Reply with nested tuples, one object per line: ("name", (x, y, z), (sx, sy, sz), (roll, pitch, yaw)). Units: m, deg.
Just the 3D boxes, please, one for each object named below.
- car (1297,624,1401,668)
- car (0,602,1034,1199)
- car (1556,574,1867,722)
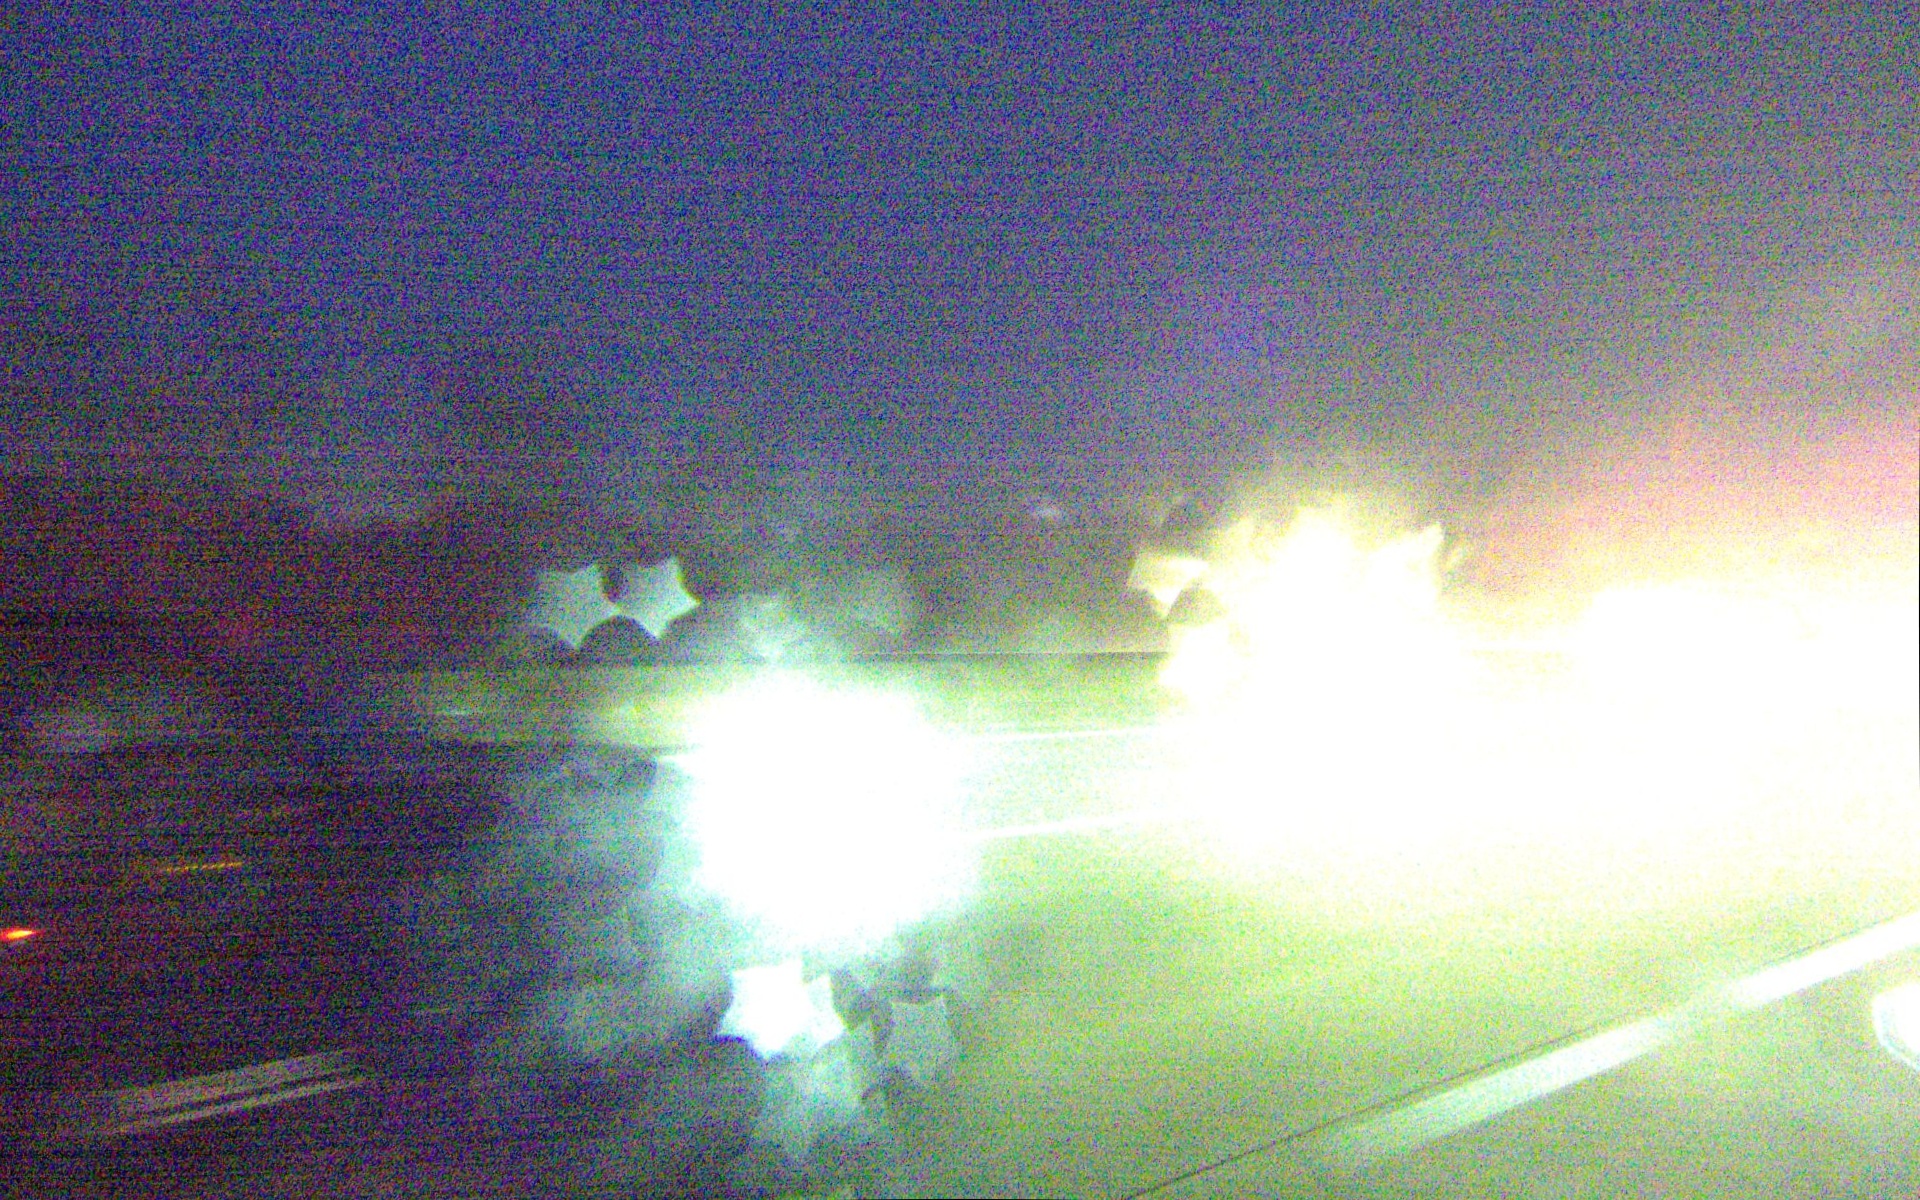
("car", (16.297, 1.903, 42.034), (4.494, 1.707, 1.586), (2, 0, -30))
("car", (-1.987, 0.749, 2.890), (4.196, 1.450, 1.649), (1, 0, -30))
("car", (12.657, 0.751, 16.826), (5.562, 2.132, 2.113), (1, 0, -30))
